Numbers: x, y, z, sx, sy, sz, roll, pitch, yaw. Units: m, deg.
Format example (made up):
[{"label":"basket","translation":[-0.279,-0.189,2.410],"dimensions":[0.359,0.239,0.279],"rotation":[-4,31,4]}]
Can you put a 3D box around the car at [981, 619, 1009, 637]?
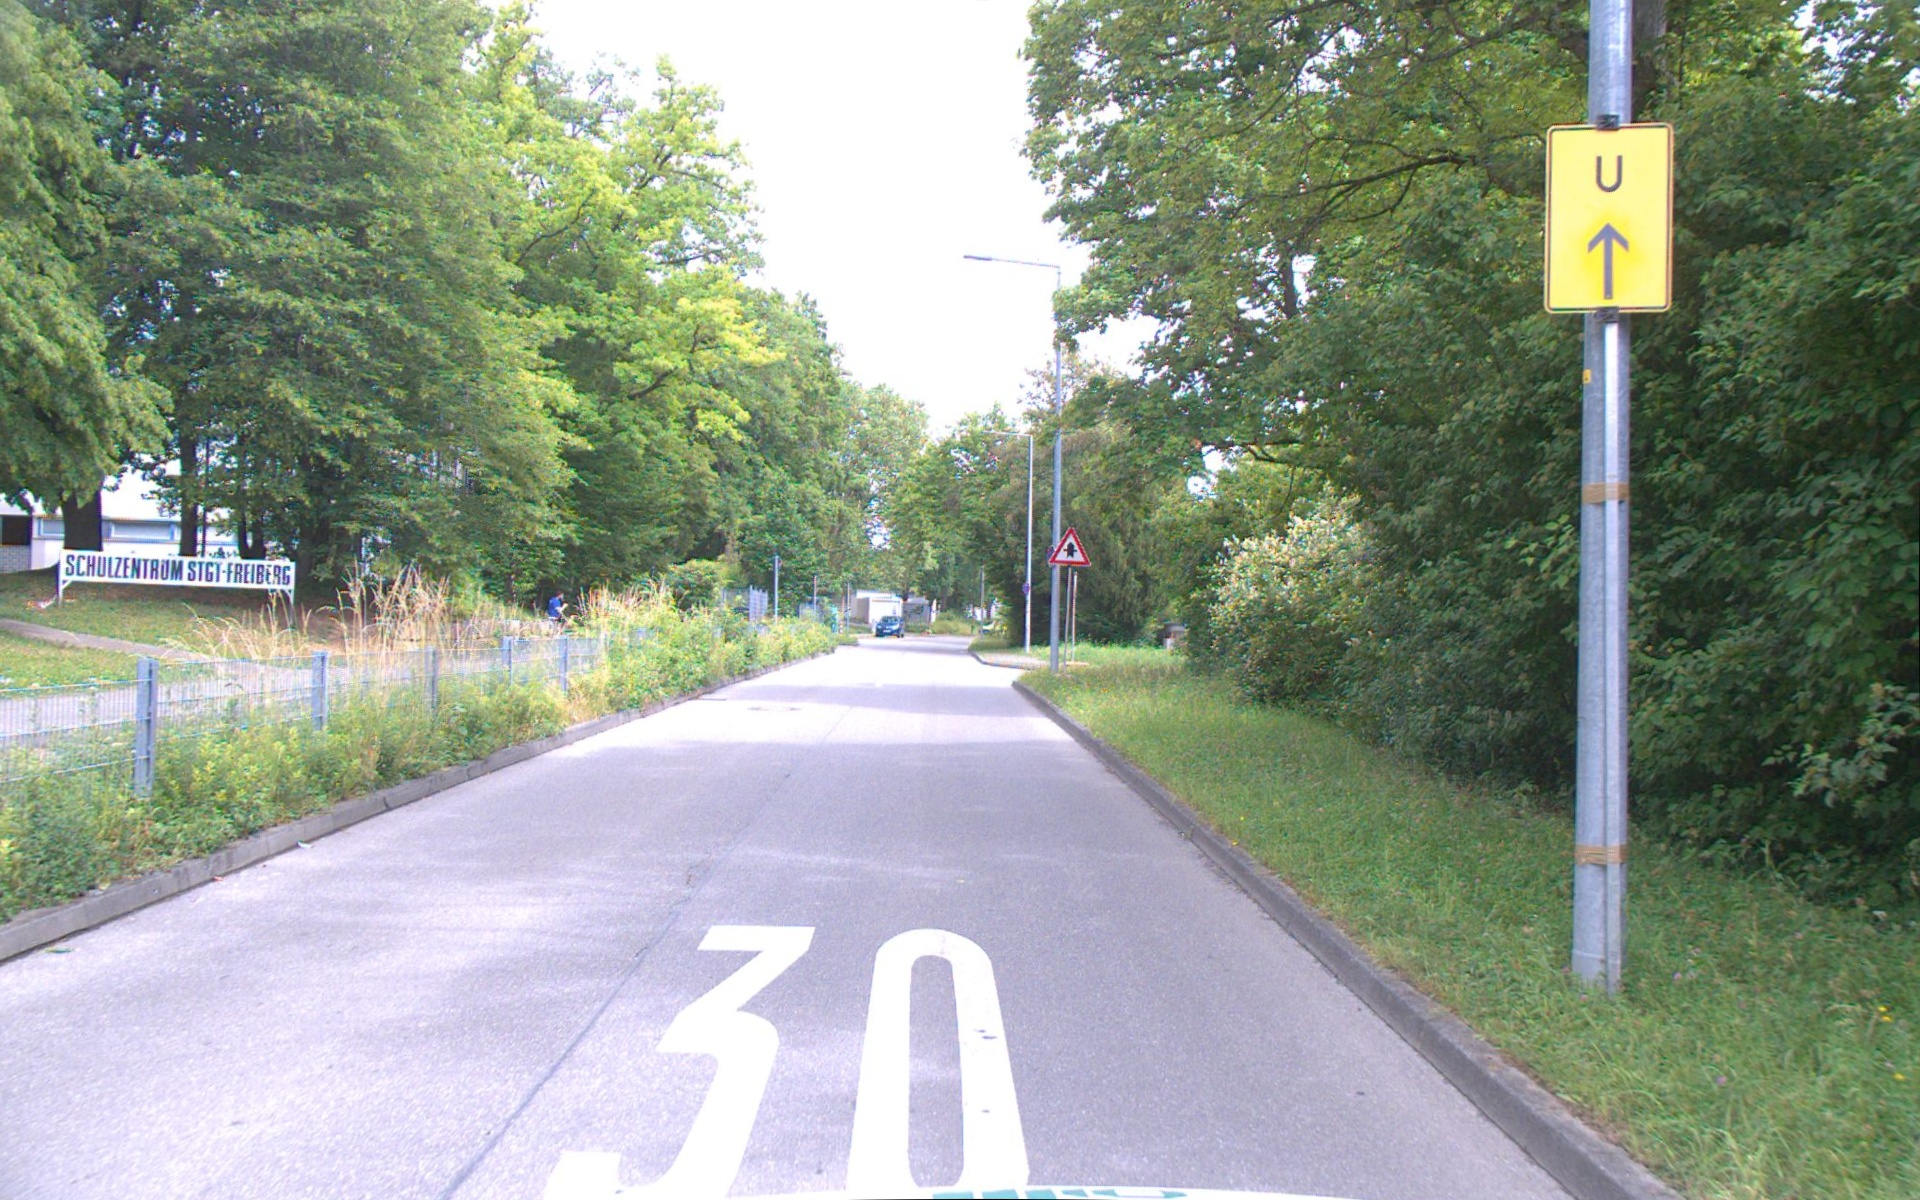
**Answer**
[{"label":"car","translation":[3.282,2.580,153.469],"dimensions":[1.820,1.518,4.002],"rotation":[-2,-3,13]}]

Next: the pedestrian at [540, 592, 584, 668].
[{"label":"pedestrian","translation":[-10.962,0.829,45.546],"dimensions":[0.863,2.049,0.861],"rotation":[-4,-4,44]}]

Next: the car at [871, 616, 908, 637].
[{"label":"car","translation":[-4.906,1.865,116.175],"dimensions":[1.937,1.408,4.003],"rotation":[2,0,6]}]
